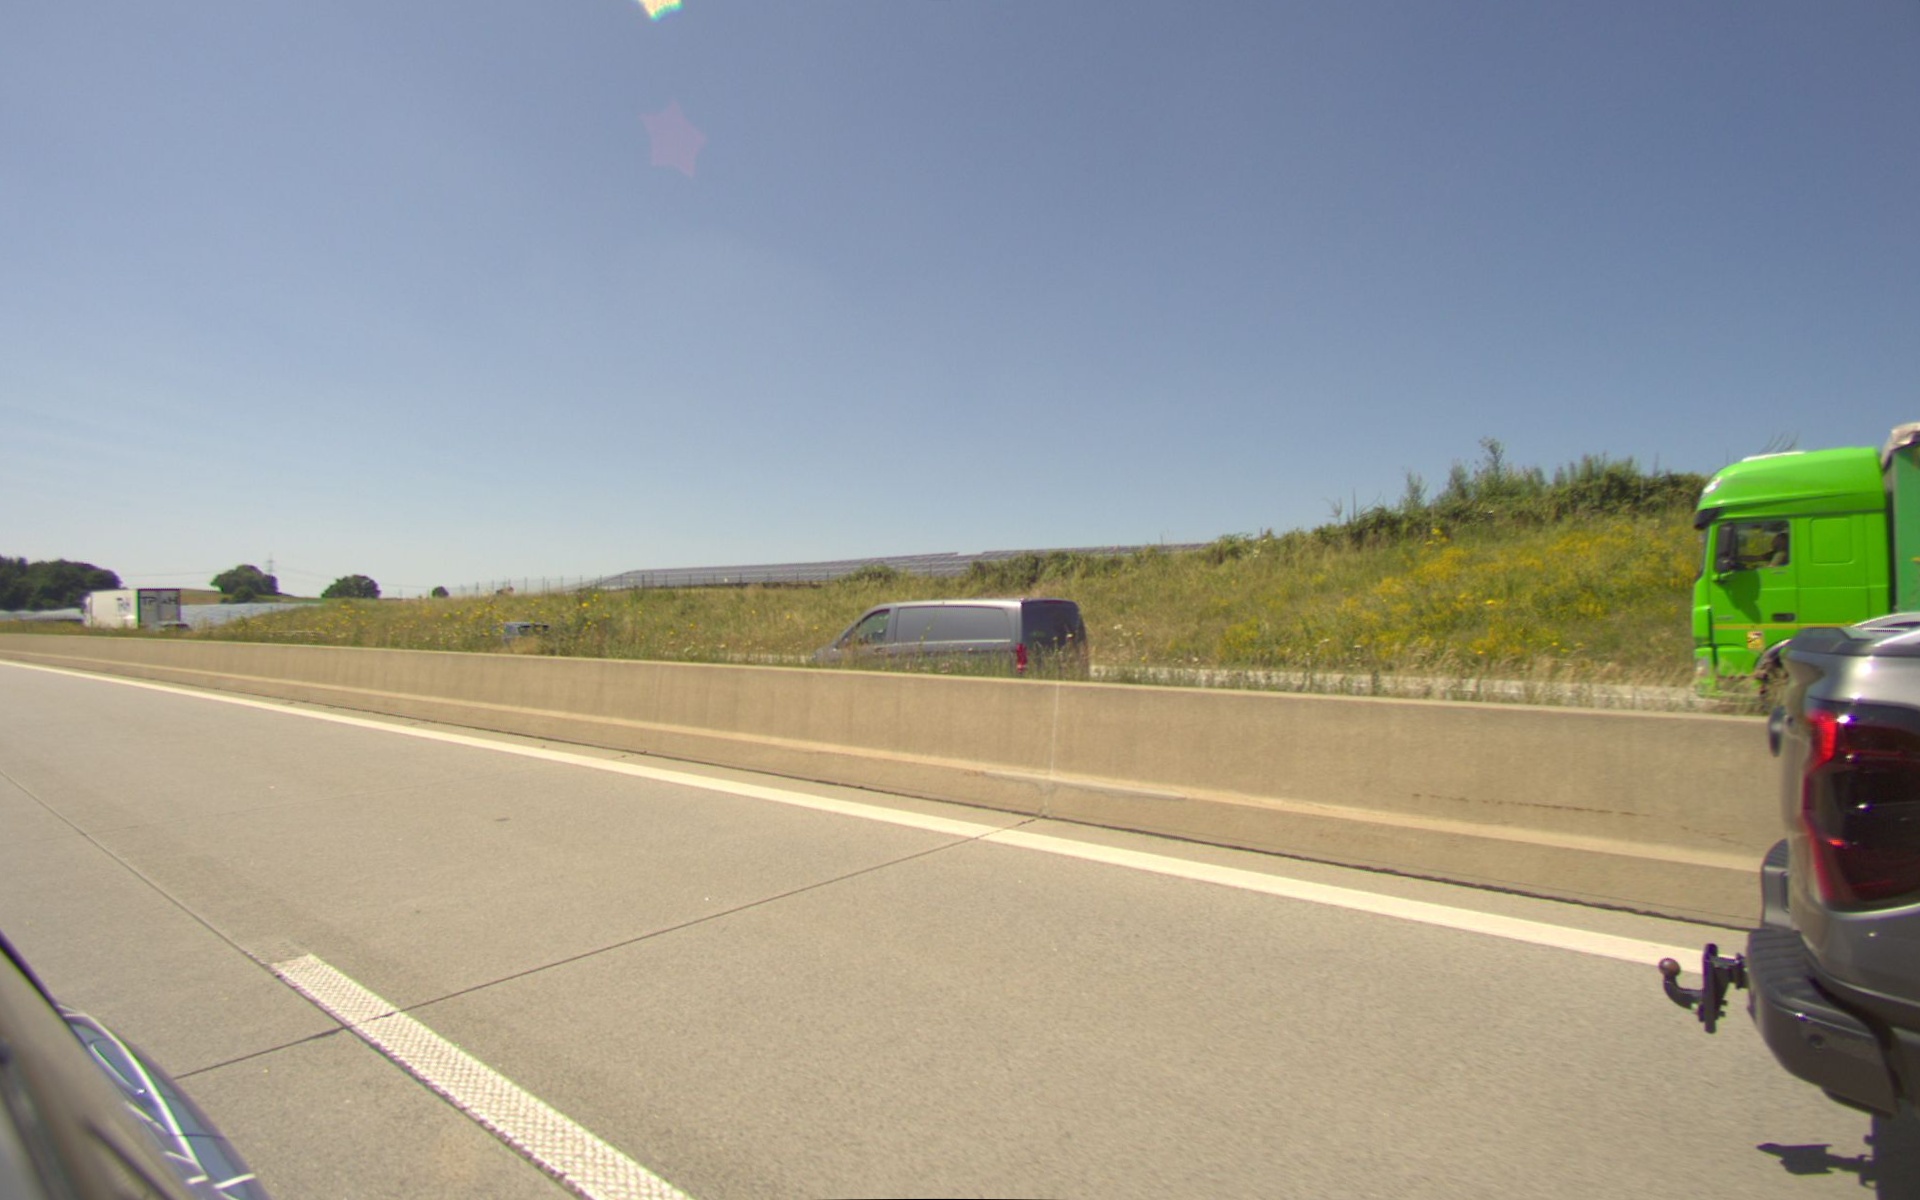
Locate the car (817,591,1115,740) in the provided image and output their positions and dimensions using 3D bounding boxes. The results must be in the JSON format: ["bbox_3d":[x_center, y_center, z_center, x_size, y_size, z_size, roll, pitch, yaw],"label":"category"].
[{"bbox_3d":[-0.017,0.918,16.011,4.540,2.029,1.973,-1,-1,41],"label":"car"}]

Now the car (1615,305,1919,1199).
[{"bbox_3d":[4.316,0.402,0.458,6.526,1.860,1.973,-1,0,41],"label":"car"}]

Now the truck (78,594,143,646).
[{"bbox_3d":[-70.545,1.661,83.999,6.862,4.091,2.961,-2,-1,39],"label":"truck"}]

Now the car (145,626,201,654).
[{"bbox_3d":[-46.692,2.363,60.019,4.640,1.597,1.709,-1,-1,40],"label":"car"}]

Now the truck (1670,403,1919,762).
[{"bbox_3d":[13.912,-0.244,14.087,6.262,4.697,3.057,-1,-1,41],"label":"truck"}]

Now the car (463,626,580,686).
[{"bbox_3d":[-14.427,1.776,33.202,3.997,1.785,1.973,-1,0,40],"label":"car"}]

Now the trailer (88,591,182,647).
[{"bbox_3d":[-64.702,1.515,79.176,14.163,4.091,2.976,-2,-1,39],"label":"trailer"}]
